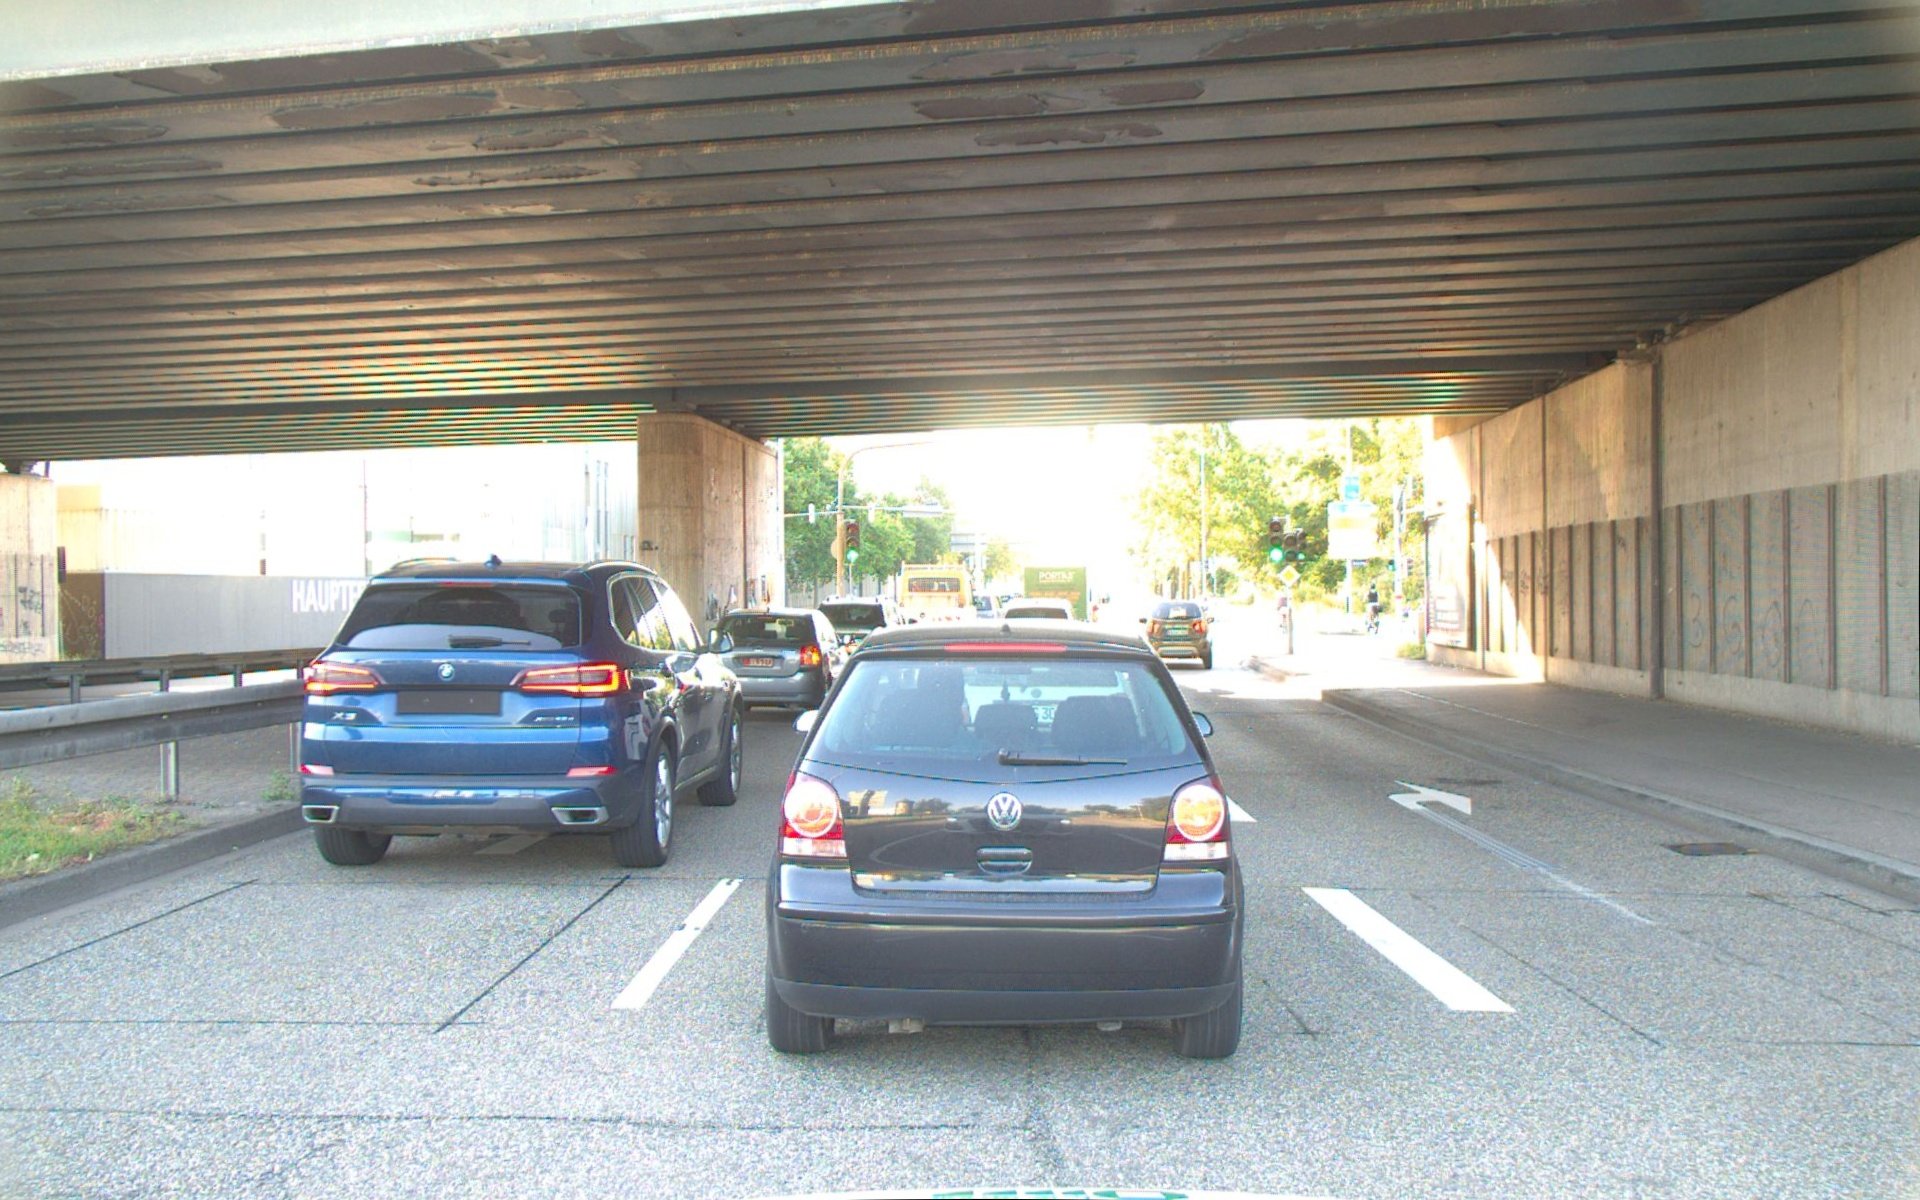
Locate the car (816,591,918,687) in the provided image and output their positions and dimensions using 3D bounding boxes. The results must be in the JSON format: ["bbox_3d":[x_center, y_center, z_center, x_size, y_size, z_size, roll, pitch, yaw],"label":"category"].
[{"bbox_3d":[-1.730,0.717,31.748,1.583,1.709,3.684,1,0,2],"label":"car"}]

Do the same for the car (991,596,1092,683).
[{"bbox_3d":[1.657,0.743,32.599,1.758,1.586,4.002,1,0,6],"label":"car"}]

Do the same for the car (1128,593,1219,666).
[{"bbox_3d":[5.115,0.697,40.086,1.701,1.659,4.062,1,0,1],"label":"car"}]

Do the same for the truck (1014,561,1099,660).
[{"bbox_3d":[2.500,0.262,42.073,1.954,2.356,4.002,1,0,6],"label":"truck"}]

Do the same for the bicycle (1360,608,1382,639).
[{"bbox_3d":[15.414,0.866,61.996,0.552,1.132,1.623,1,-1,6],"label":"bicycle"}]

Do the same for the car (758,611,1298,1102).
[{"bbox_3d":[0.150,0.776,6.742,1.584,1.434,3.681,1,0,-2],"label":"car"}]

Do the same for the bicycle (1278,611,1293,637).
[{"bbox_3d":[11.904,0.891,60.521,0.428,0.930,1.027,-2,-1,6],"label":"bicycle"}]

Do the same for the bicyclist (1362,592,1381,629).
[{"bbox_3d":[15.444,0.395,62.081,0.532,1.339,0.836,1,-1,6],"label":"bicyclist"}]

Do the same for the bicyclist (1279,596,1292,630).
[{"bbox_3d":[11.898,0.478,60.490,0.418,1.254,0.460,-1,-1,6],"label":"bicyclist"}]

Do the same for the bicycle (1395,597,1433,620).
[{"bbox_3d":[21.248,0.385,77.375,1.628,1.008,0.578,-1,2,23],"label":"bicycle"}]

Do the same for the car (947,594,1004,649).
[{"bbox_3d":[0.534,0.690,54.471,1.582,1.709,3.685,1,0,5],"label":"car"}]

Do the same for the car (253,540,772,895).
[{"bbox_3d":[-2.530,0.612,10.662,1.952,1.764,4.533,1,0,2],"label":"car"}]

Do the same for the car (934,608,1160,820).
[{"bbox_3d":[0.621,0.803,13.487,1.546,1.438,4.062,1,0,0],"label":"car"}]

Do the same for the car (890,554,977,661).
[{"bbox_3d":[-0.633,0.198,43.650,2.092,2.621,5.087,1,0,1],"label":"car"}]

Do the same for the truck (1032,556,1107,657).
[{"bbox_3d":[3.161,0.194,47.160,1.954,2.715,4.002,1,-1,6],"label":"truck"}]

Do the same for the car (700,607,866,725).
[{"bbox_3d":[-2.306,0.832,22.377,1.582,1.434,3.685,1,0,4],"label":"car"}]
